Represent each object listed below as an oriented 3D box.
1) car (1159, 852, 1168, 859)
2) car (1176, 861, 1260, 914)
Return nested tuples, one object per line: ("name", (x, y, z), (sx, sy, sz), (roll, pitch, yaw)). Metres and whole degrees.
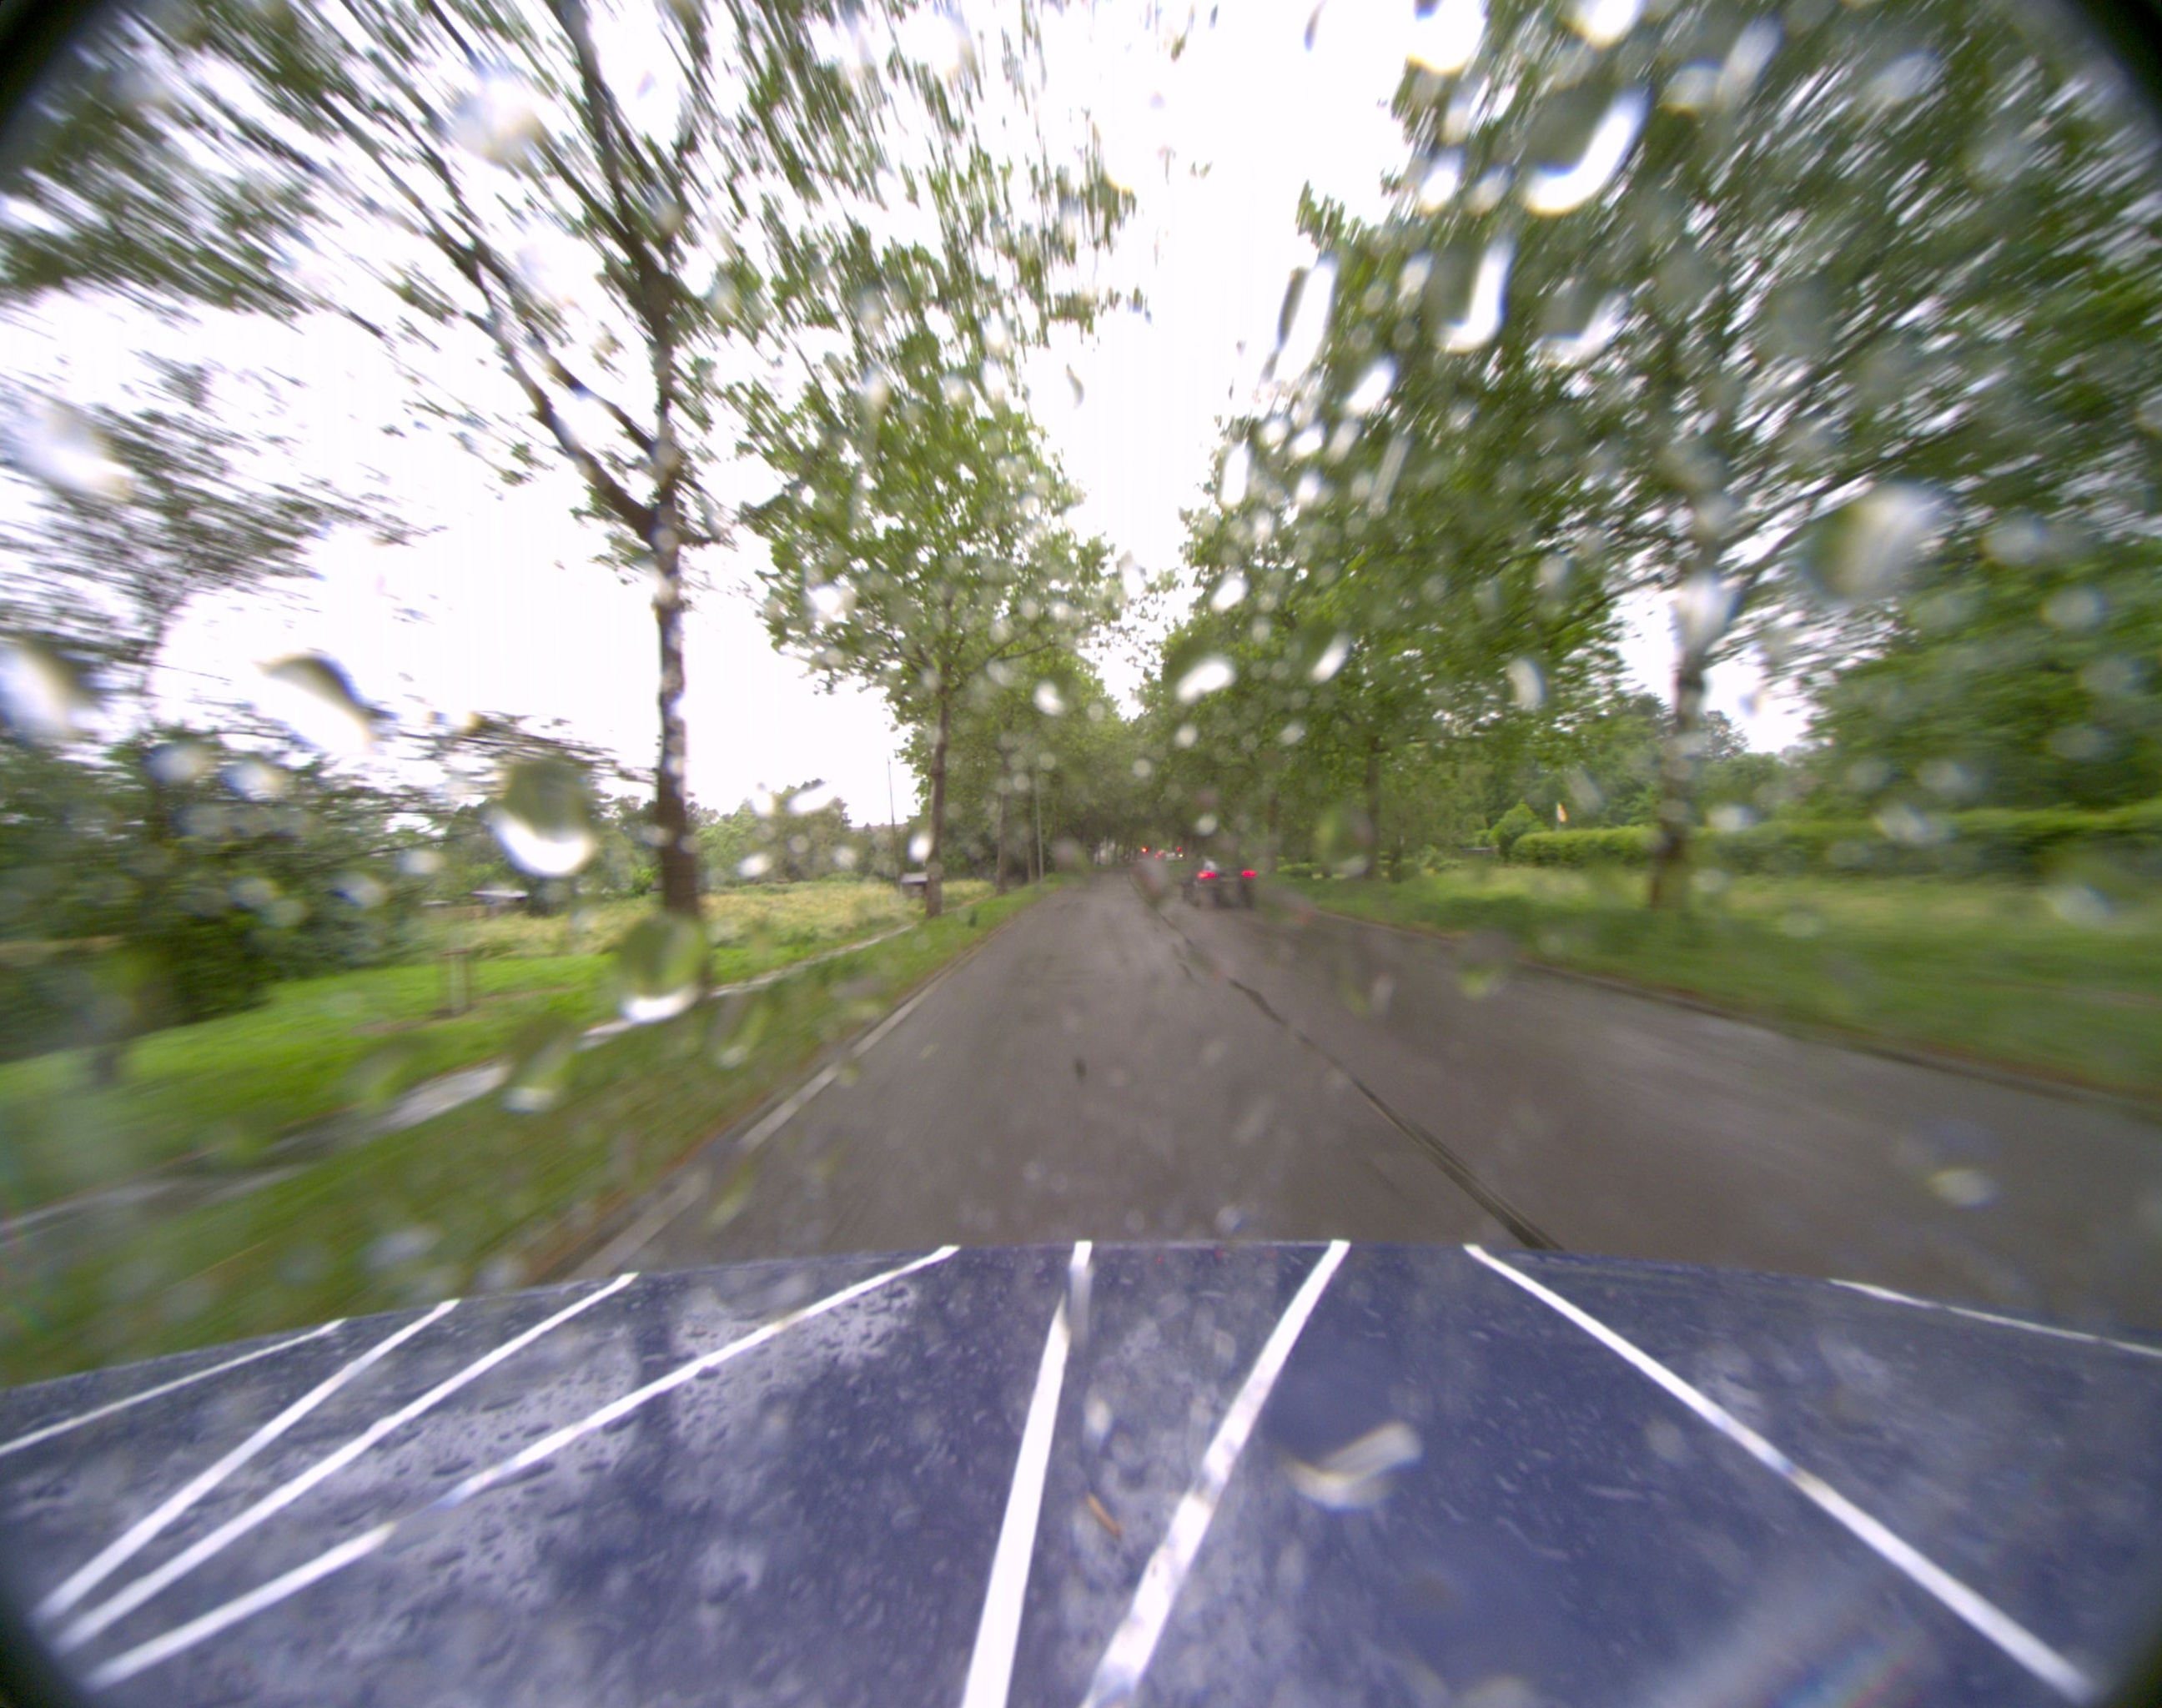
("car", (19.104, 0.322, 176.639), (1.867, 1.739, 5.017), (-1, 0, 4))
("car", (3.988, 0.928, 22.763), (1.736, 1.415, 4.225), (-1, 0, 0))
